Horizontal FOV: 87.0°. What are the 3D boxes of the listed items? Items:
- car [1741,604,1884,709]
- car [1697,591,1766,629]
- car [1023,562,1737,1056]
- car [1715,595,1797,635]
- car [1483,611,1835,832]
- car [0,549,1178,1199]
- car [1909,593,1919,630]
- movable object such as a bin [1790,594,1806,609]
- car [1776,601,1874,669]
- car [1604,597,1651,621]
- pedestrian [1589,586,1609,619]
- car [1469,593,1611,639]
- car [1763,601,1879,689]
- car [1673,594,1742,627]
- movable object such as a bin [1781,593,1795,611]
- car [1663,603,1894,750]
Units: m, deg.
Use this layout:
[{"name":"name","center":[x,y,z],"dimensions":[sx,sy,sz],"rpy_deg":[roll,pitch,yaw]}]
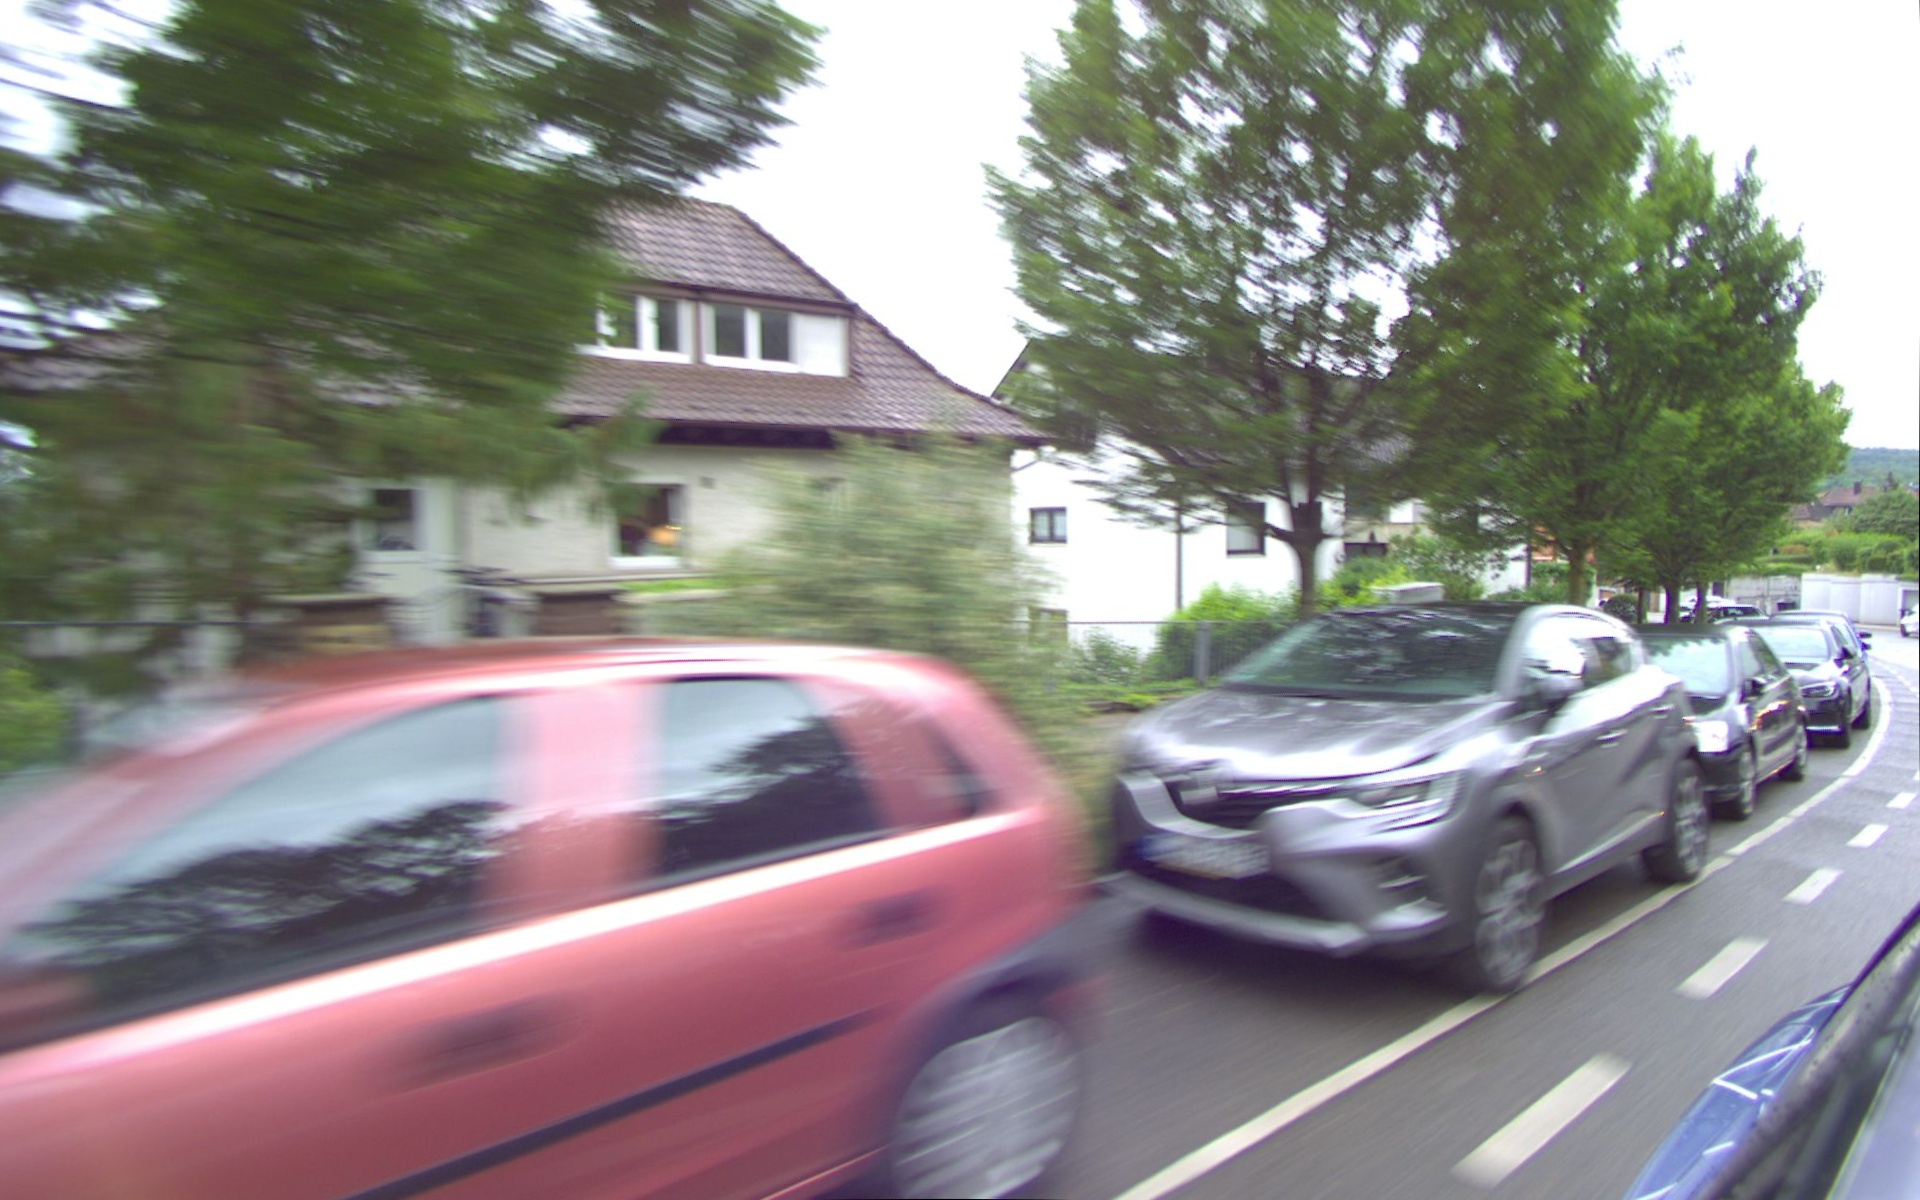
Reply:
[{"name":"car","center":[14.533,0.868,17.199],"dimensions":[1.653,1.539,3.939],"rpy_deg":[-2,-1,42]},{"name":"car","center":[36.112,0.417,47.507],"dimensions":[2.045,1.677,5.176],"rpy_deg":[-1,0,32]},{"name":"car","center":[2.401,0.695,5.238],"dimensions":[4.090,1.576,1.717],"rpy_deg":[0,-2,-41]},{"name":"car","center":[33.309,0.577,42.492],"dimensions":[1.851,1.488,5.004],"rpy_deg":[-3,-1,29]},{"name":"car","center":[6.292,0.862,8.907],"dimensions":[4.215,1.442,1.644],"rpy_deg":[0,-2,-43]},{"name":"car","center":[-1.473,0.697,2.128],"dimensions":[3.947,1.501,1.652],"rpy_deg":[0,-1,-39]},{"name":"car","center":[40.746,0.476,41.633],"dimensions":[1.618,1.535,3.792],"rpy_deg":[0,0,30]},{"name":"movable object such as a bin","center":[55.520,0.107,67.016],"dimensions":[0.589,1.005,0.610],"rpy_deg":[-2,-1,-30]},{"name":"car","center":[21.185,0.820,24.884],"dimensions":[1.665,1.490,3.657],"rpy_deg":[-3,-1,40]},{"name":"car","center":[44.436,0.574,67.426],"dimensions":[1.641,1.508,3.974],"rpy_deg":[-2,-1,20]},{"name":"pedestrian","center":[34.428,0.107,54.531],"dimensions":[0.754,1.741,0.895],"rpy_deg":[2,1,24]},{"name":"car","center":[21.754,0.611,38.034],"dimensions":[4.297,1.483,1.907],"rpy_deg":[-3,1,41]},{"name":"car","center":[17.171,0.840,20.188],"dimensions":[1.625,1.582,2.977],"rpy_deg":[-2,-1,41]},{"name":"car","center":[38.605,0.528,52.398],"dimensions":[1.840,1.601,4.818],"rpy_deg":[-1,0,24]},{"name":"movable object such as a bin","center":[55.240,0.110,67.541],"dimensions":[0.589,1.160,0.529],"rpy_deg":[-3,0,-30]},{"name":"car","center":[10.827,0.858,13.244],"dimensions":[4.650,1.573,1.777],"rpy_deg":[0,-2,-44]}]
